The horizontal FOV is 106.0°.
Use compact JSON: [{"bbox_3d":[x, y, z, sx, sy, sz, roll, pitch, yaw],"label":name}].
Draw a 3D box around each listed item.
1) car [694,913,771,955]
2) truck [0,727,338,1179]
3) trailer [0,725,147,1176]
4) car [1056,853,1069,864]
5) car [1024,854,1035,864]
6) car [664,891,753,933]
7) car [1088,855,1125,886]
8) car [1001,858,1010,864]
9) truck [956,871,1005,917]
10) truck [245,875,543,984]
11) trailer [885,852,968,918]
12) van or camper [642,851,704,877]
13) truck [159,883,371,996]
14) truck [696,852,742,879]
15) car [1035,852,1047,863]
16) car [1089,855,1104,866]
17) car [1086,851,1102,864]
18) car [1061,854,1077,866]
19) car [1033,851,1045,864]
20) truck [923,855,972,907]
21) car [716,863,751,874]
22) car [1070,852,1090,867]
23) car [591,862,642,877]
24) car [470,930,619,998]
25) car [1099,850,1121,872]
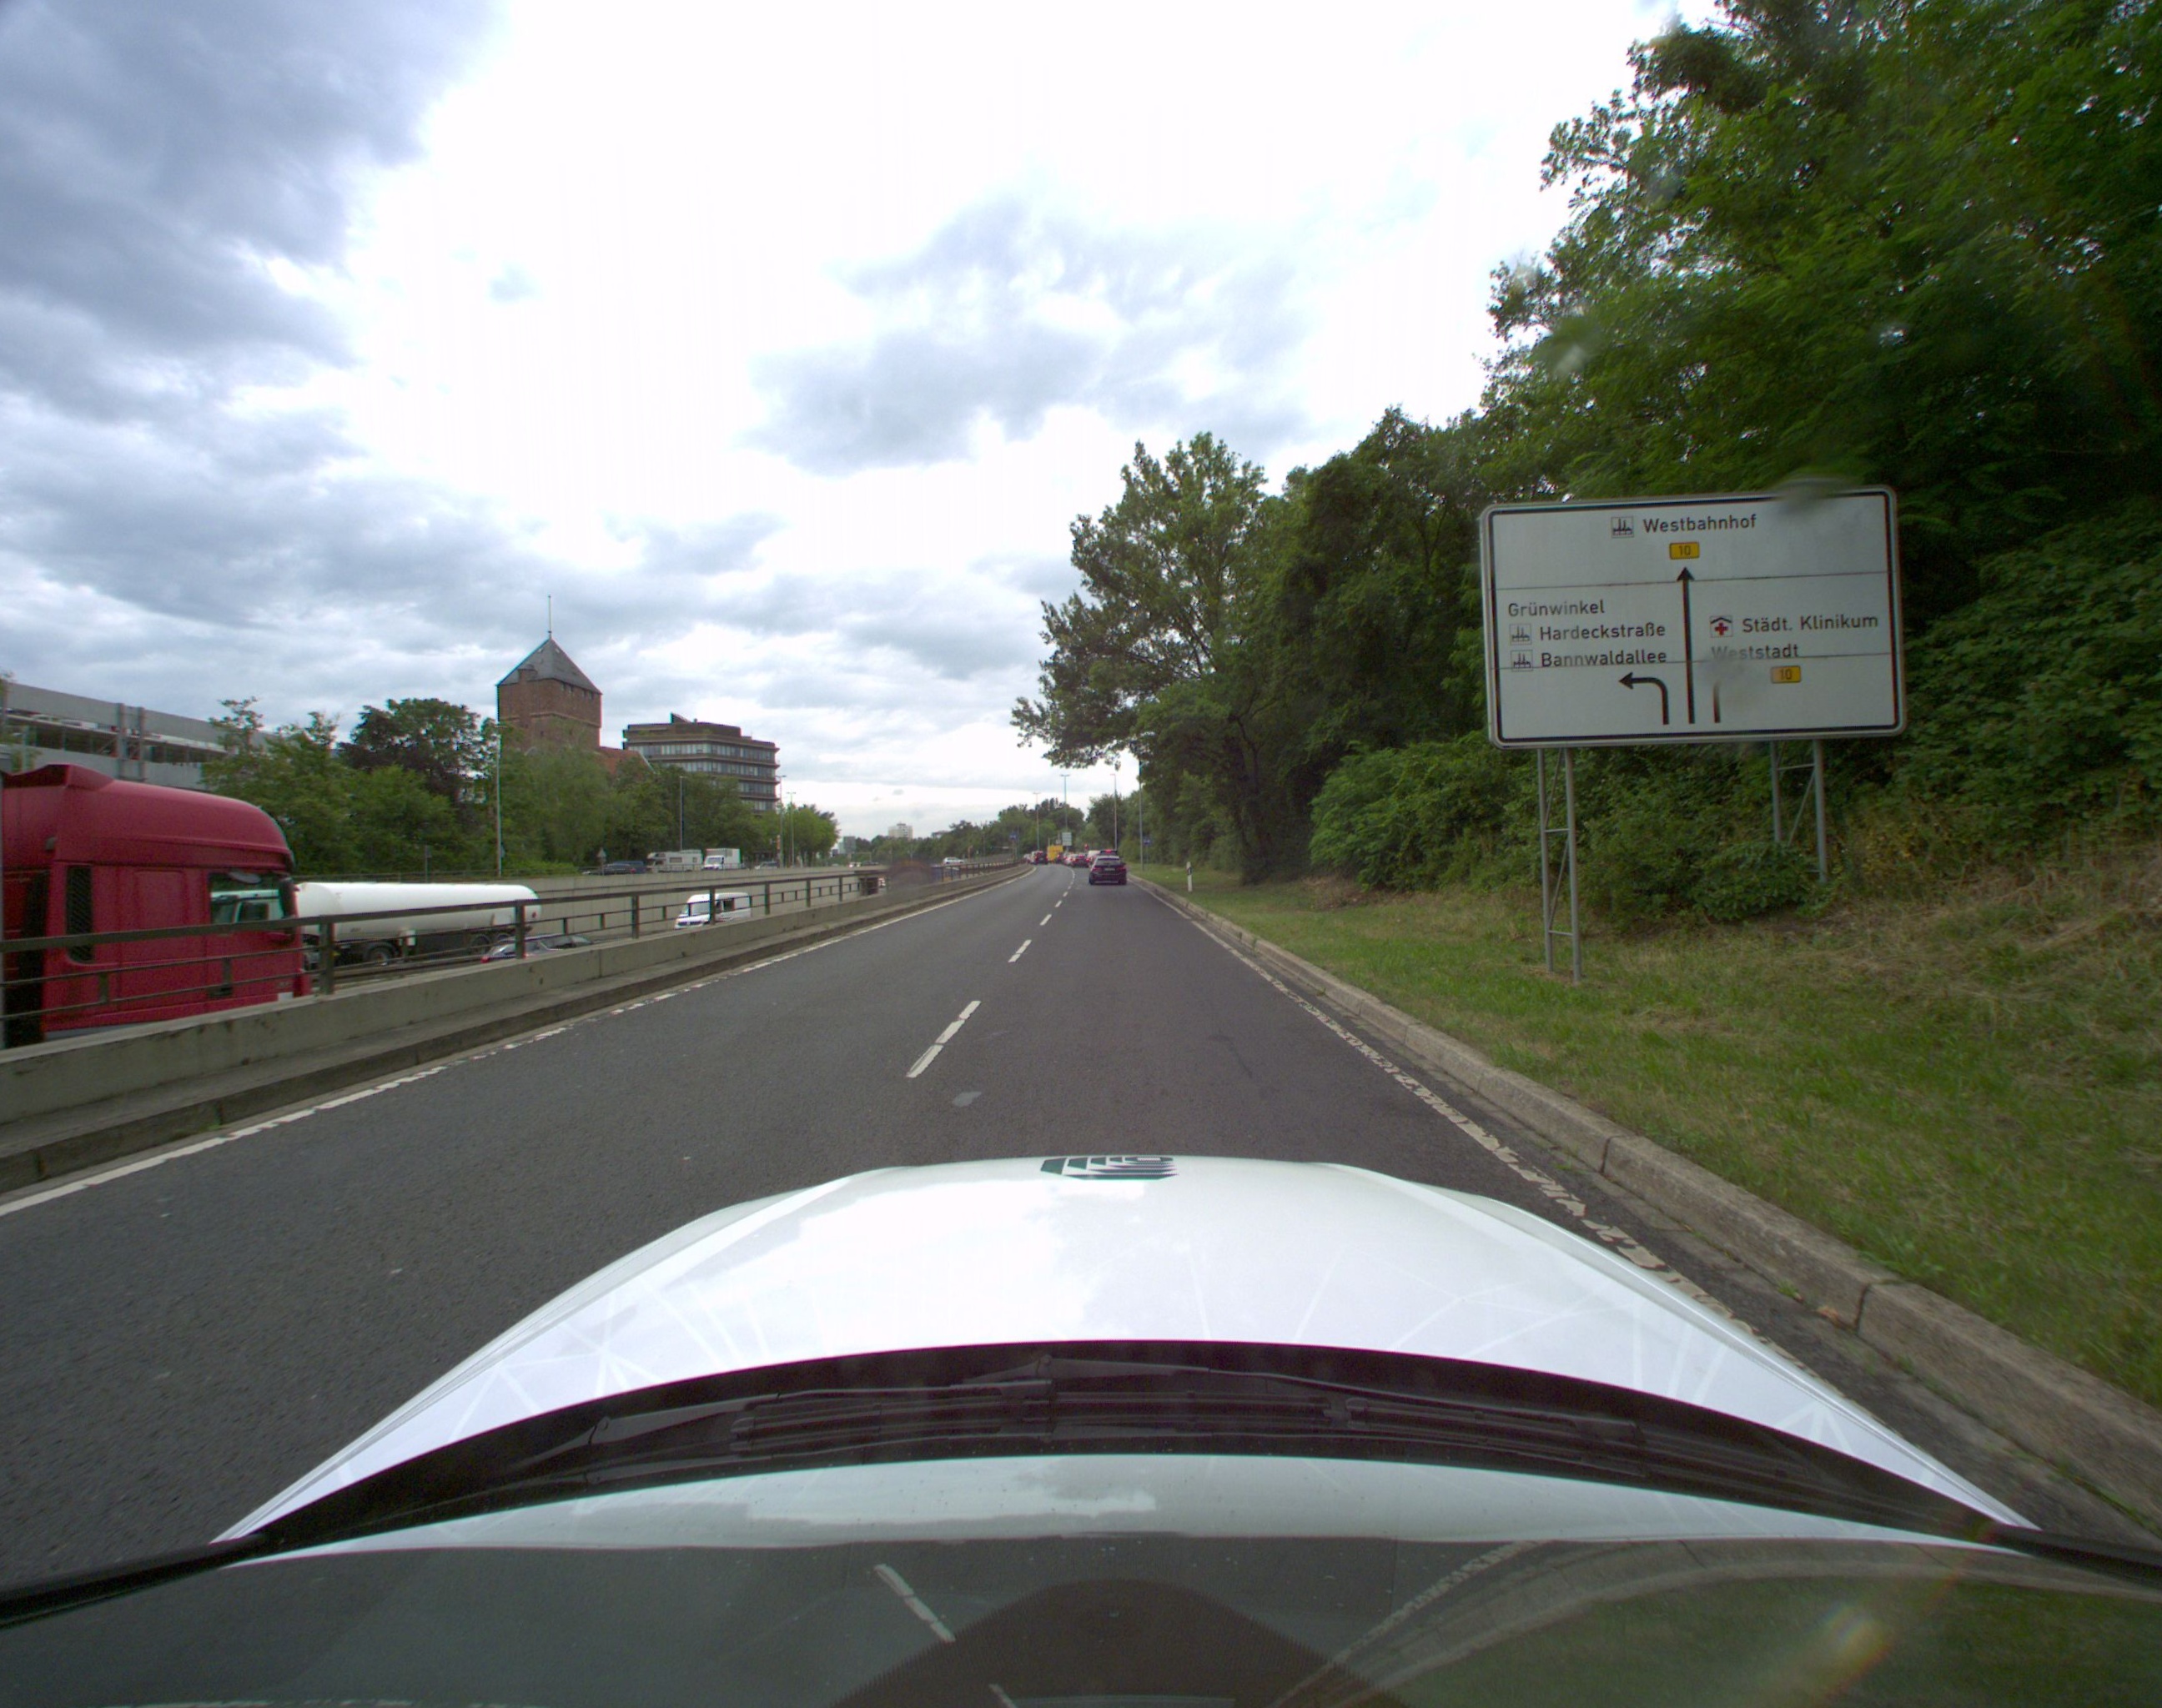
[{"bbox_3d":[-15.288,3.484,35.942,1.617,1.529,3.898,0,-1,2],"label":"car"},{"bbox_3d":[-11.026,0.924,7.369,2.695,4.037,6.205,-2,-1,2],"label":"truck"},{"bbox_3d":[-11.228,0.825,1.144,2.641,4.037,14.560,-2,-1,2],"label":"trailer"},{"bbox_3d":[-2.933,0.672,126.464,1.881,1.700,4.423,0,-1,-4],"label":"car"},{"bbox_3d":[-8.710,0.834,137.333,1.621,1.701,4.287,0,-1,-6],"label":"car"},{"bbox_3d":[-22.345,3.405,49.238,2.201,1.999,6.654,-3,0,0],"label":"car"},{"bbox_3d":[1.265,0.798,41.596,1.742,1.426,4.462,-1,0,1],"label":"car"},{"bbox_3d":[-19.581,1.848,210.253,1.627,1.701,4.272,0,-1,-17],"label":"car"},{"bbox_3d":[-10.113,3.890,83.851,2.841,4.037,15.575,-2,-1,0],"label":"truck"},{"bbox_3d":[-26.434,2.646,32.514,2.517,3.352,11.046,-2,-1,0],"label":"truck"},{"bbox_3d":[-10.936,2.073,59.725,2.842,4.037,16.002,-2,-1,0],"label":"trailer"},{"bbox_3d":[-46.321,1.137,92.581,5.958,2.810,2.120,0,-1,-44],"label":"van or camper"},{"bbox_3d":[-26.416,2.645,26.644,2.517,3.220,4.317,-2,-1,-1],"label":"truck"},{"bbox_3d":[-40.550,1.291,91.478,2.010,2.987,7.096,0,-1,0],"label":"truck"},{"bbox_3d":[-5.948,0.528,121.426,1.621,1.701,4.287,0,-1,-6],"label":"car"},{"bbox_3d":[1.982,0.867,106.833,1.879,1.356,3.998,0,-1,-1],"label":"car"},{"bbox_3d":[1.829,0.517,115.995,1.881,1.880,4.423,0,-1,-4],"label":"car"},{"bbox_3d":[-1.550,0.784,104.154,1.881,1.592,4.423,0,-1,-4],"label":"car"},{"bbox_3d":[-6.742,0.572,129.530,1.881,1.987,4.423,0,-1,-4],"label":"car"},{"bbox_3d":[-10.931,2.148,67.302,2.842,4.037,6.096,-2,-1,0],"label":"truck"},{"bbox_3d":[-47.306,1.948,110.948,1.608,1.441,4.025,-1,-1,40],"label":"car"},{"bbox_3d":[-0.134,0.637,90.047,1.881,1.592,4.423,0,-1,-4],"label":"car"},{"bbox_3d":[-46.040,1.542,80.753,1.608,1.441,4.025,-1,-1,40],"label":"car"},{"bbox_3d":[-15.706,3.170,24.109,1.649,1.529,3.900,0,-1,3],"label":"car"},{"bbox_3d":[2.612,0.604,72.869,1.892,1.884,4.417,0,-1,2],"label":"car"}]
